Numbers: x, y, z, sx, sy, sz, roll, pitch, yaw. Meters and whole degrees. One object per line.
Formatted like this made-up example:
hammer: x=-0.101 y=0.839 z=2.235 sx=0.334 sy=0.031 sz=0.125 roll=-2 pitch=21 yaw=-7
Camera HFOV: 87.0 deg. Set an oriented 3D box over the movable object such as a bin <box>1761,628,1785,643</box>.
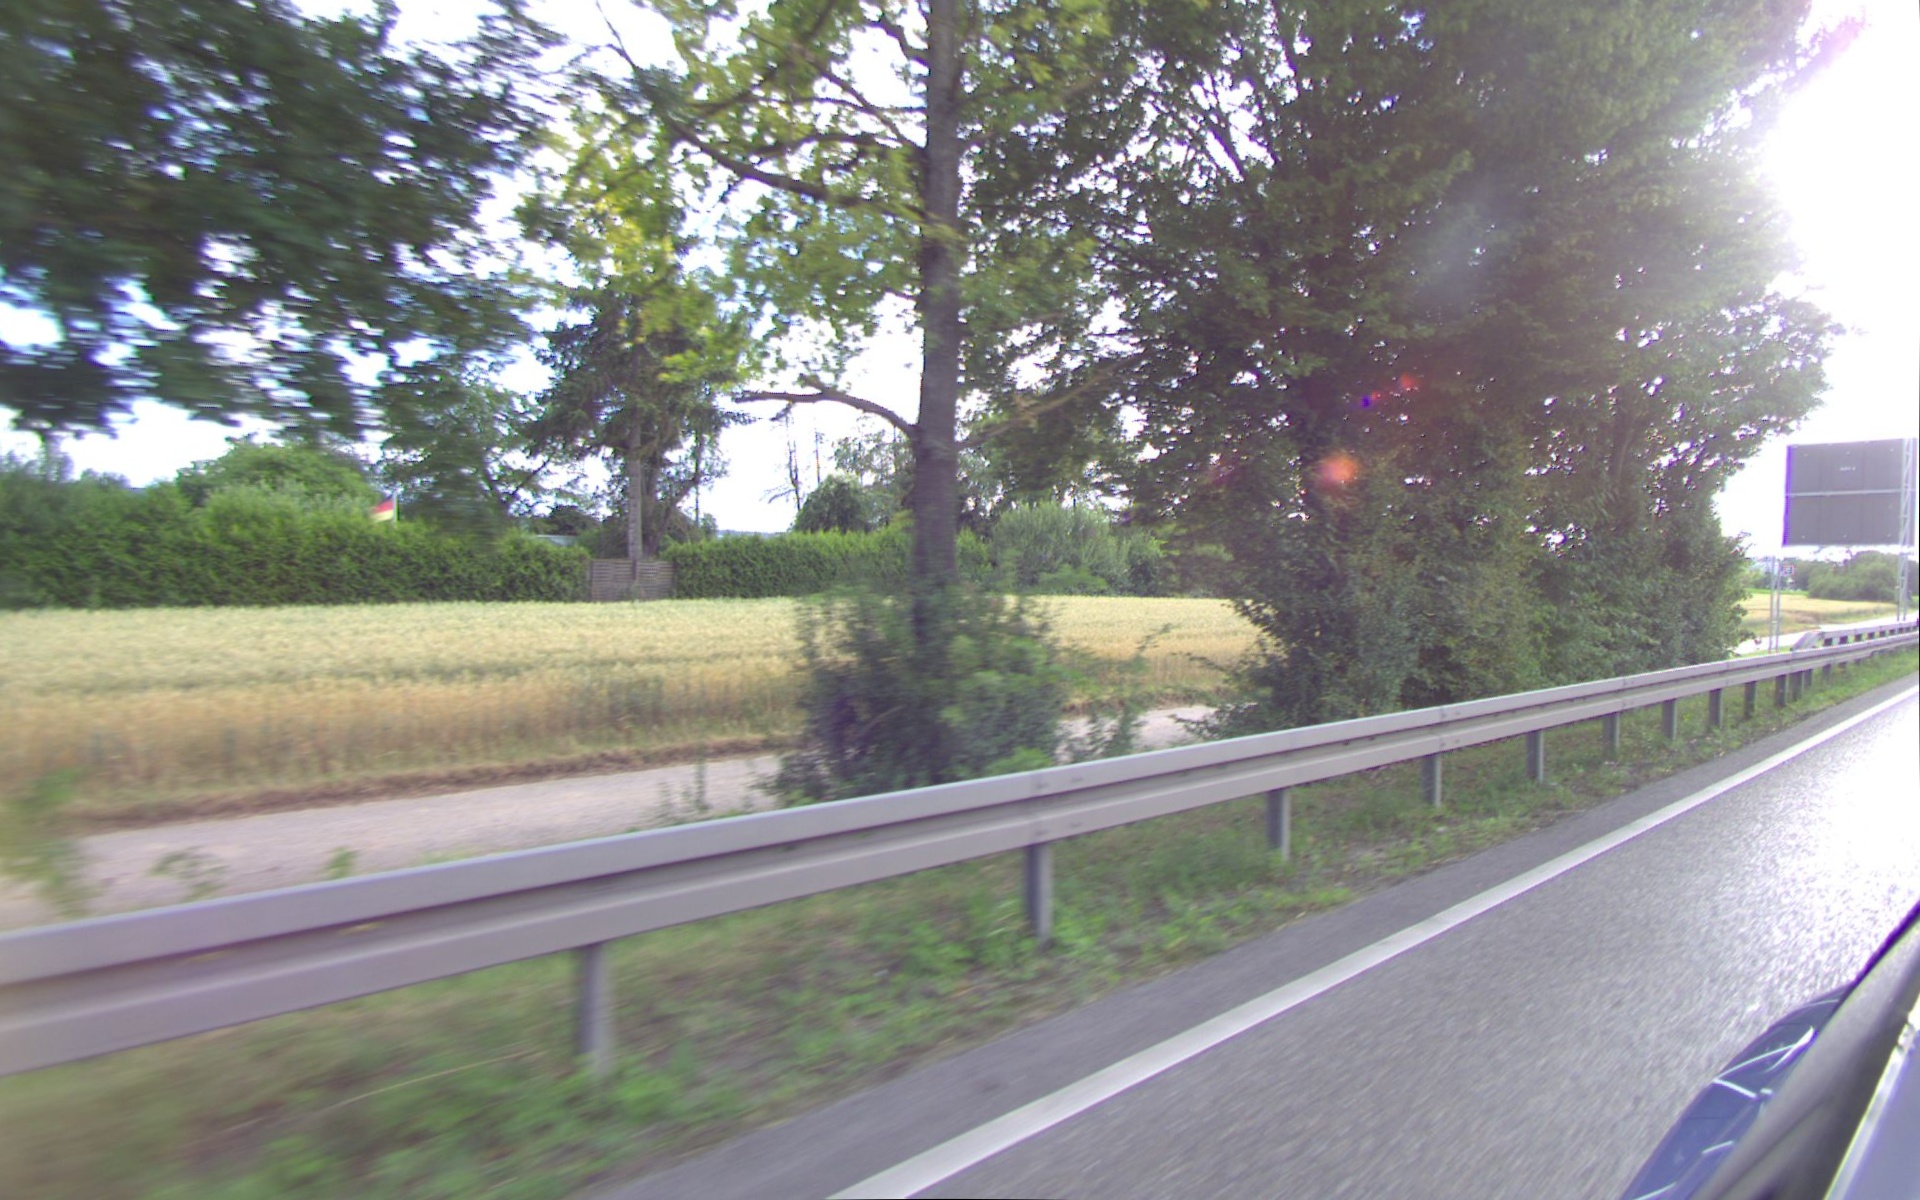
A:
movable object such as a bin: x=37.910 y=1.666 z=47.189 sx=1.214 sy=0.654 sz=0.733 roll=-1 pitch=0 yaw=-43
